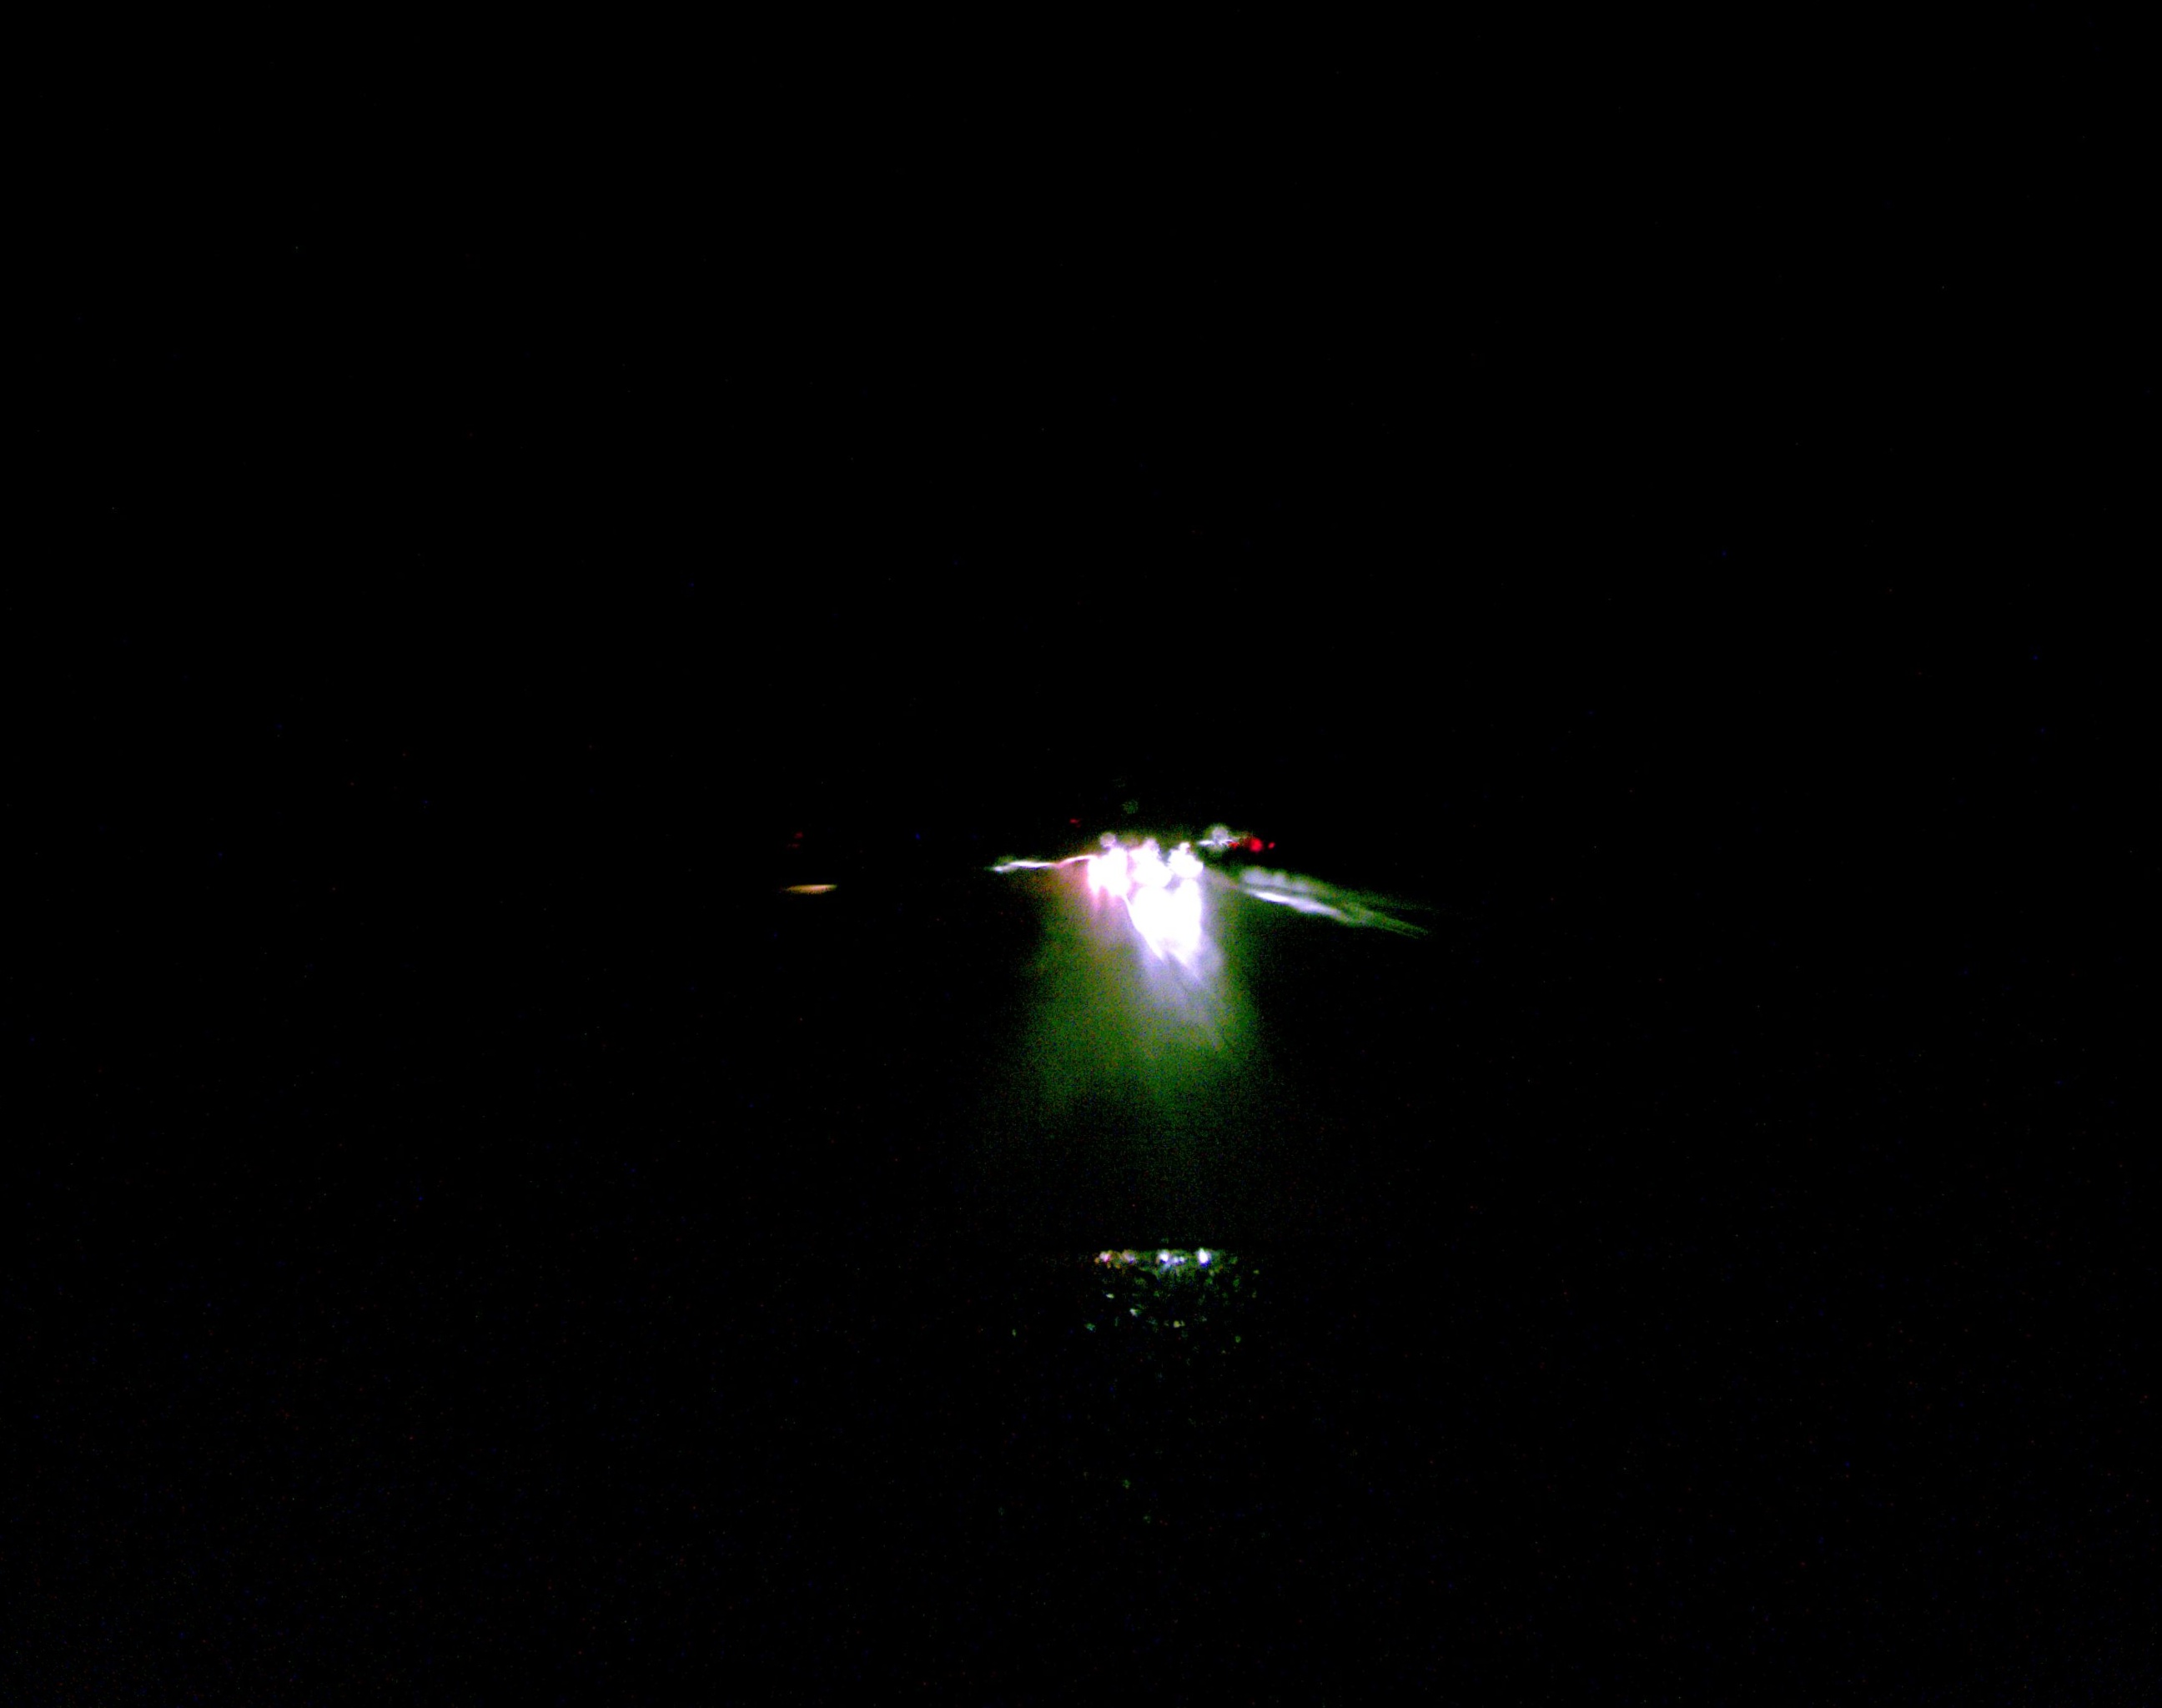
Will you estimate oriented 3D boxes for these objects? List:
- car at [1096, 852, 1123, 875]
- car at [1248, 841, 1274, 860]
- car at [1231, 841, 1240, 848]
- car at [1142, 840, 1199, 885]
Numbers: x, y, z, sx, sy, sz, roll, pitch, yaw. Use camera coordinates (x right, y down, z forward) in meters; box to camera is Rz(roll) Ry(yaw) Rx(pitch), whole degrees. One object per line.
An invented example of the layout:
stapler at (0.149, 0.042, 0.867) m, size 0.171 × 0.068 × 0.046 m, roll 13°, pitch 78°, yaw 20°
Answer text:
car at (2.275, 0.703, 59.842) m, size 1.804 × 1.608 × 4.257 m, roll -2°, pitch 1°, yaw 6°
car at (20.227, -0.360, 85.467) m, size 1.998 × 1.842 × 4.001 m, roll -6°, pitch -1°, yaw 3°
car at (38.848, -2.284, 191.114) m, size 1.997 × 1.469 × 4.003 m, roll -6°, pitch -1°, yaw 8°
car at (4.538, 0.406, 37.868) m, size 1.996 × 2.001 × 4.005 m, roll -4°, pitch -1°, yaw 17°
